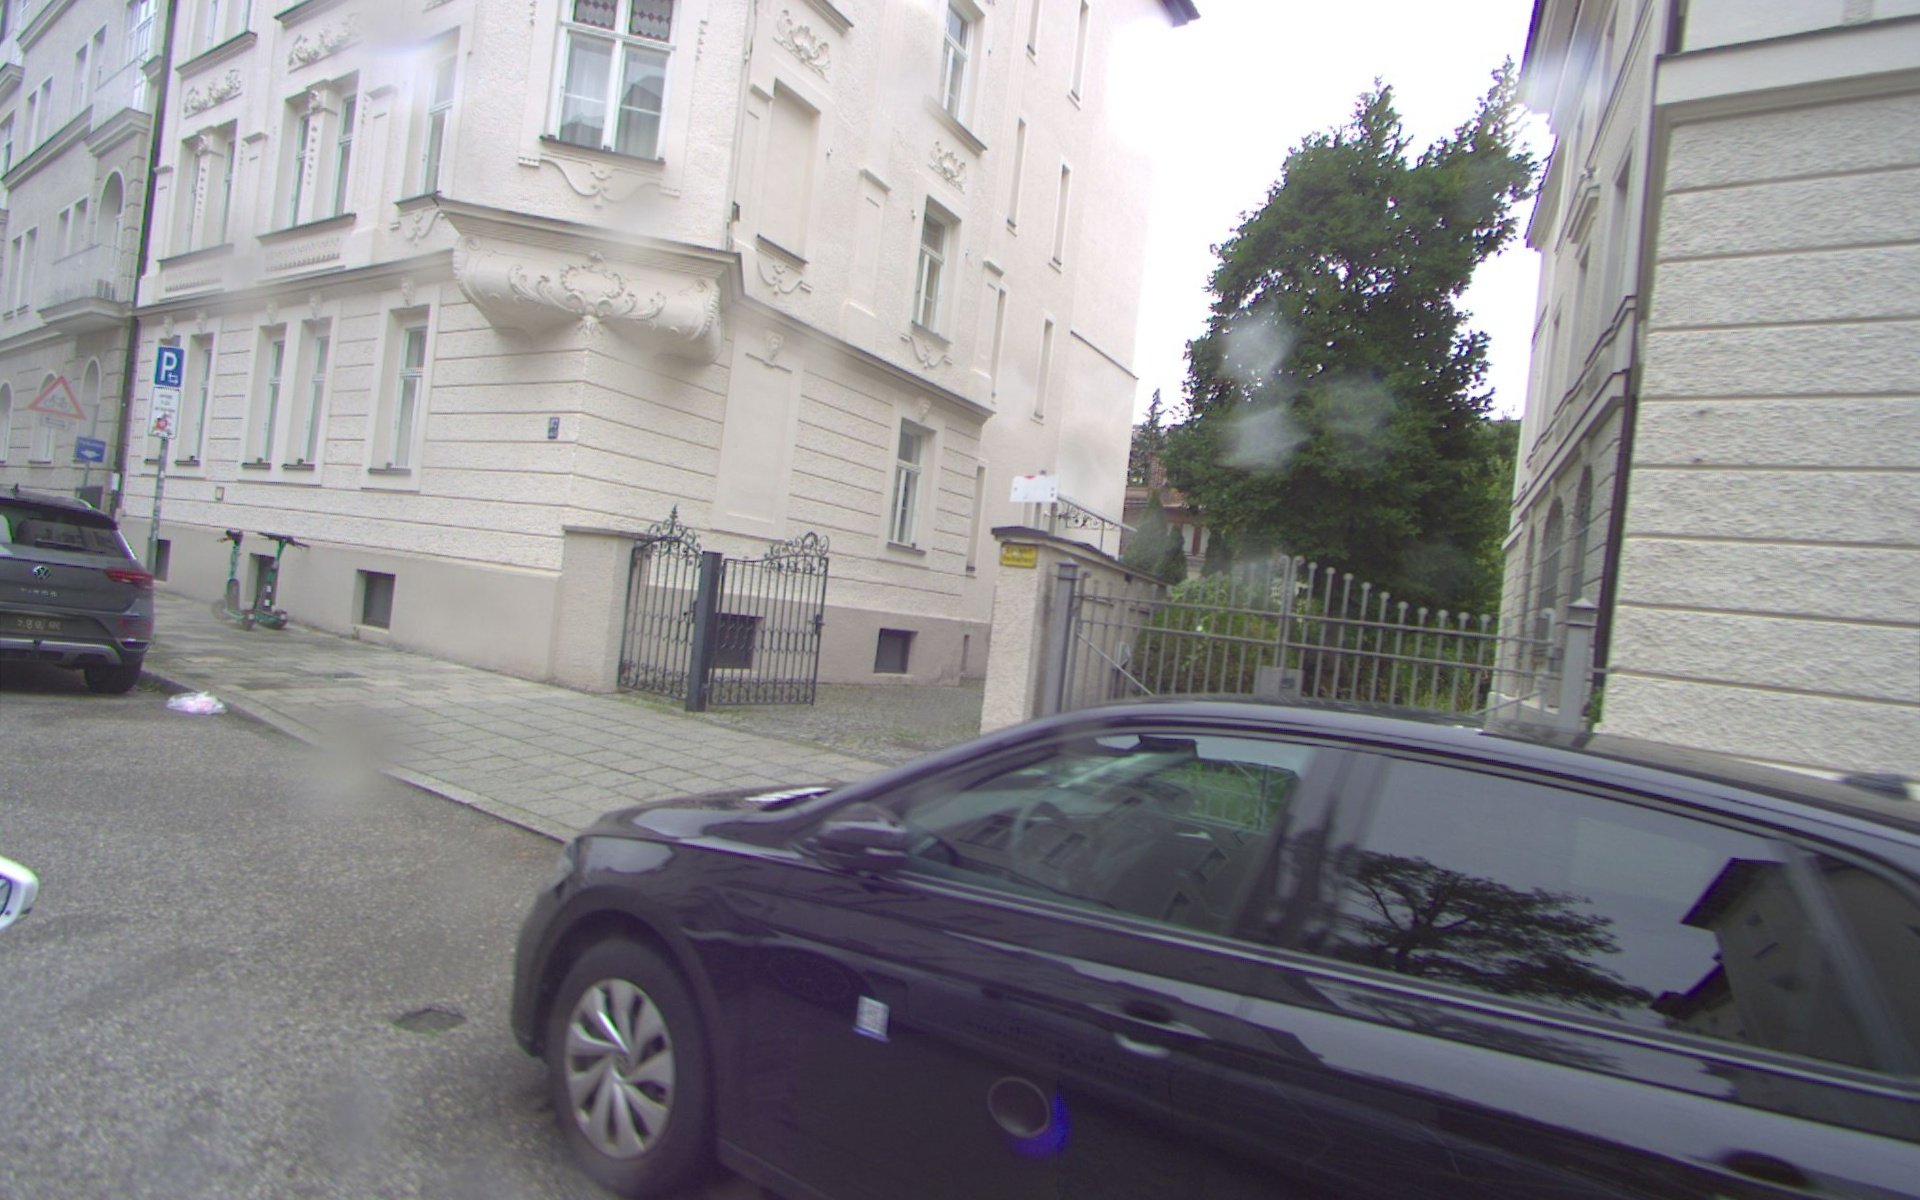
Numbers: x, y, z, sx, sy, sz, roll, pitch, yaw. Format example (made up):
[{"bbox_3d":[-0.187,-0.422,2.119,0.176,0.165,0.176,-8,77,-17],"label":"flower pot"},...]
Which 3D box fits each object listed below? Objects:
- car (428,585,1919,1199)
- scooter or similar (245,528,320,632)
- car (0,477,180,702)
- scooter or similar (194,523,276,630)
[{"bbox_3d":[0.668,0.930,2.403,3.935,1.411,1.615,7,-1,33],"label":"car"},{"bbox_3d":[-9.322,-0.288,13.819,1.333,1.305,0.505,7,3,42],"label":"scooter or similar"},{"bbox_3d":[-8.492,-0.260,8.445,3.934,1.606,1.710,7,-1,32],"label":"car"},{"bbox_3d":[-9.684,-0.326,13.426,1.482,1.305,0.539,7,3,42],"label":"scooter or similar"}]
